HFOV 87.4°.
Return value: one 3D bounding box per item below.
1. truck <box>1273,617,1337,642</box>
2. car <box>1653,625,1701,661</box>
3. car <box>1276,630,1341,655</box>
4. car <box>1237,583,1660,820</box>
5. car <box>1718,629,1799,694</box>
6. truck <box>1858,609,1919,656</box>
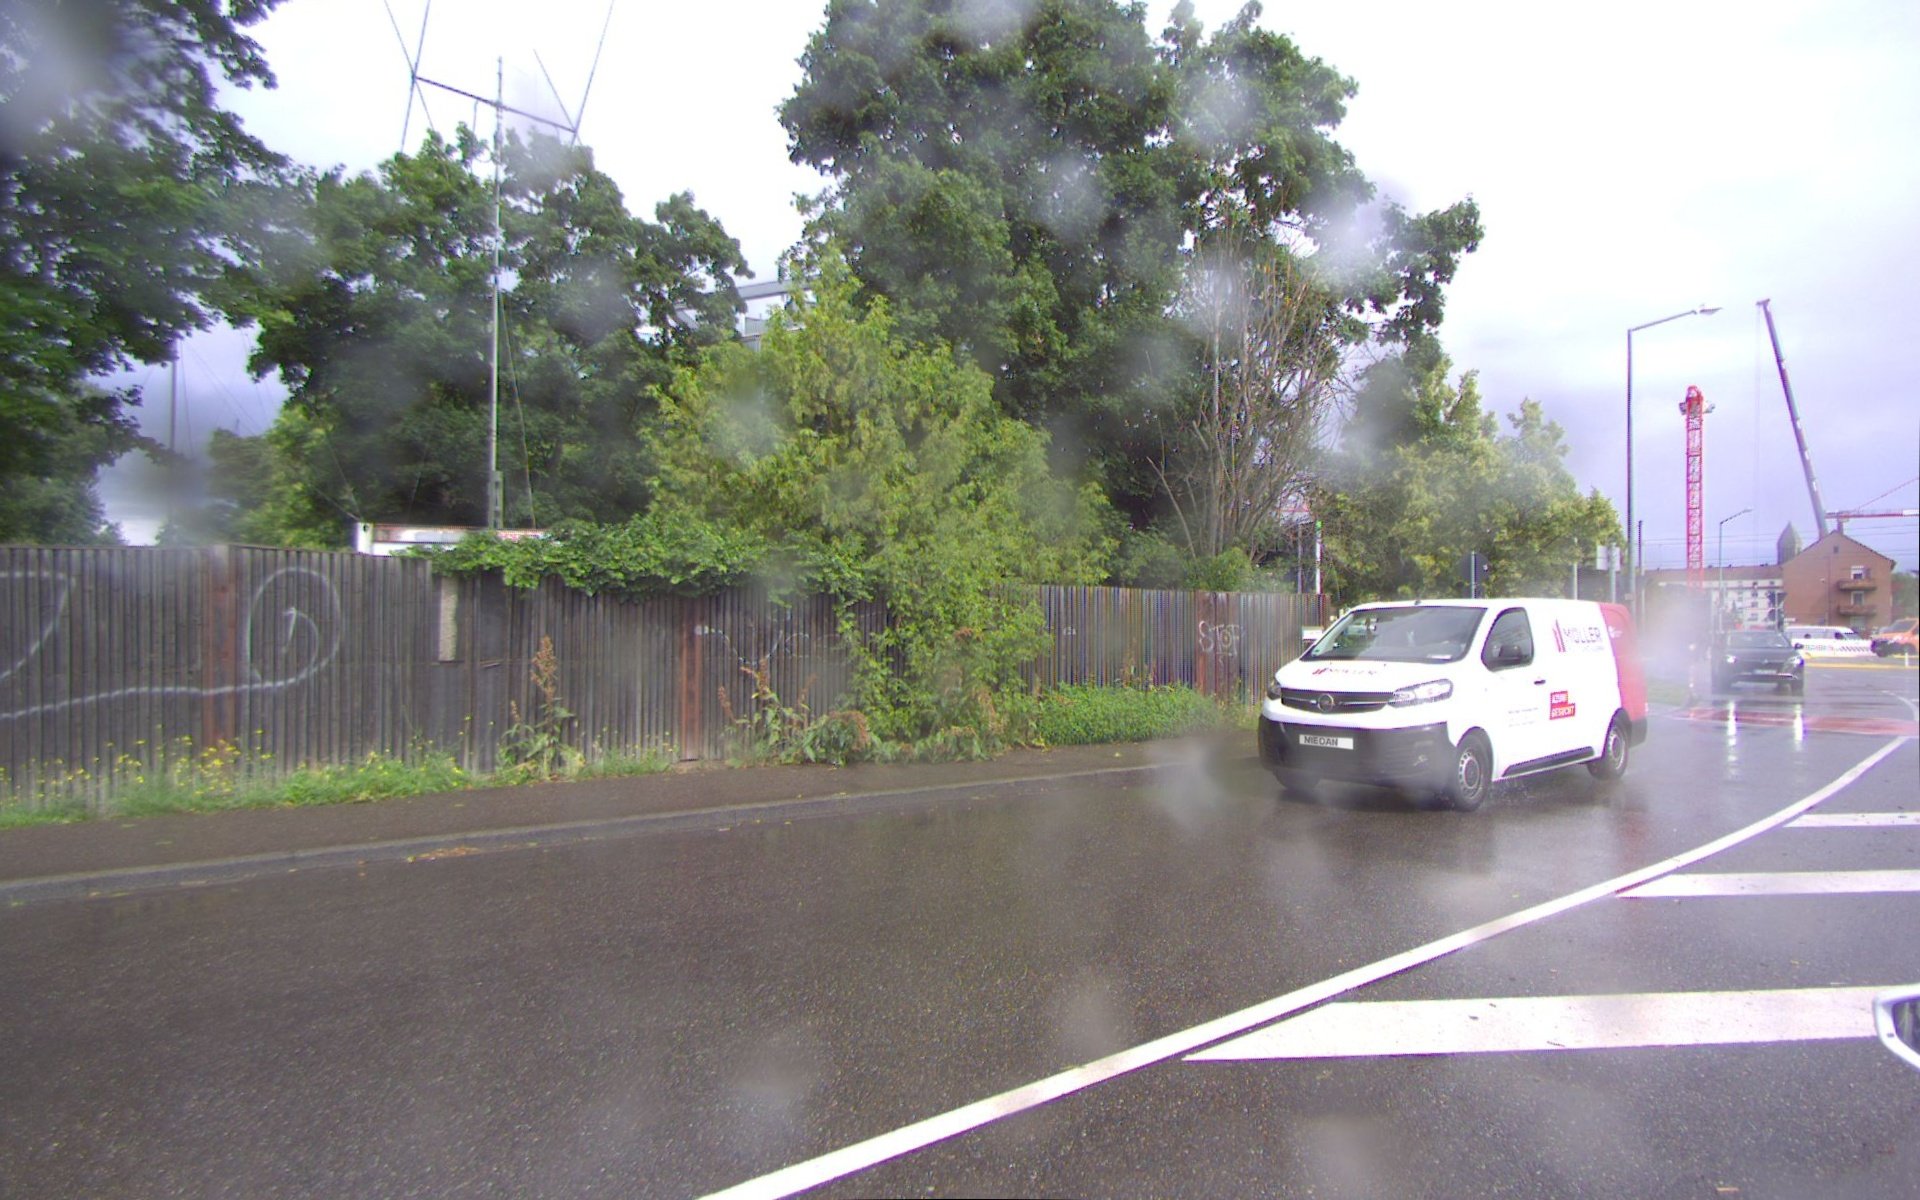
[{"bbox_3d":[35.096,3.013,102.390,2.398,2.475,6.691,1,-2,-21],"label":"truck"},{"bbox_3d":[35.472,2.100,49.757,1.542,1.670,3.647,0,-1,29],"label":"car"},{"bbox_3d":[24.912,3.010,72.011,1.613,1.649,4.372,1,-1,-32],"label":"car"},{"bbox_3d":[5.218,0.898,10.392,5.086,1.901,1.874,2,-3,-38],"label":"car"},{"bbox_3d":[22.962,1.709,28.840,1.713,1.686,4.090,0,-1,40],"label":"car"},{"bbox_3d":[56.753,1.910,58.164,6.945,2.685,2.331,0,-1,10],"label":"truck"}]
